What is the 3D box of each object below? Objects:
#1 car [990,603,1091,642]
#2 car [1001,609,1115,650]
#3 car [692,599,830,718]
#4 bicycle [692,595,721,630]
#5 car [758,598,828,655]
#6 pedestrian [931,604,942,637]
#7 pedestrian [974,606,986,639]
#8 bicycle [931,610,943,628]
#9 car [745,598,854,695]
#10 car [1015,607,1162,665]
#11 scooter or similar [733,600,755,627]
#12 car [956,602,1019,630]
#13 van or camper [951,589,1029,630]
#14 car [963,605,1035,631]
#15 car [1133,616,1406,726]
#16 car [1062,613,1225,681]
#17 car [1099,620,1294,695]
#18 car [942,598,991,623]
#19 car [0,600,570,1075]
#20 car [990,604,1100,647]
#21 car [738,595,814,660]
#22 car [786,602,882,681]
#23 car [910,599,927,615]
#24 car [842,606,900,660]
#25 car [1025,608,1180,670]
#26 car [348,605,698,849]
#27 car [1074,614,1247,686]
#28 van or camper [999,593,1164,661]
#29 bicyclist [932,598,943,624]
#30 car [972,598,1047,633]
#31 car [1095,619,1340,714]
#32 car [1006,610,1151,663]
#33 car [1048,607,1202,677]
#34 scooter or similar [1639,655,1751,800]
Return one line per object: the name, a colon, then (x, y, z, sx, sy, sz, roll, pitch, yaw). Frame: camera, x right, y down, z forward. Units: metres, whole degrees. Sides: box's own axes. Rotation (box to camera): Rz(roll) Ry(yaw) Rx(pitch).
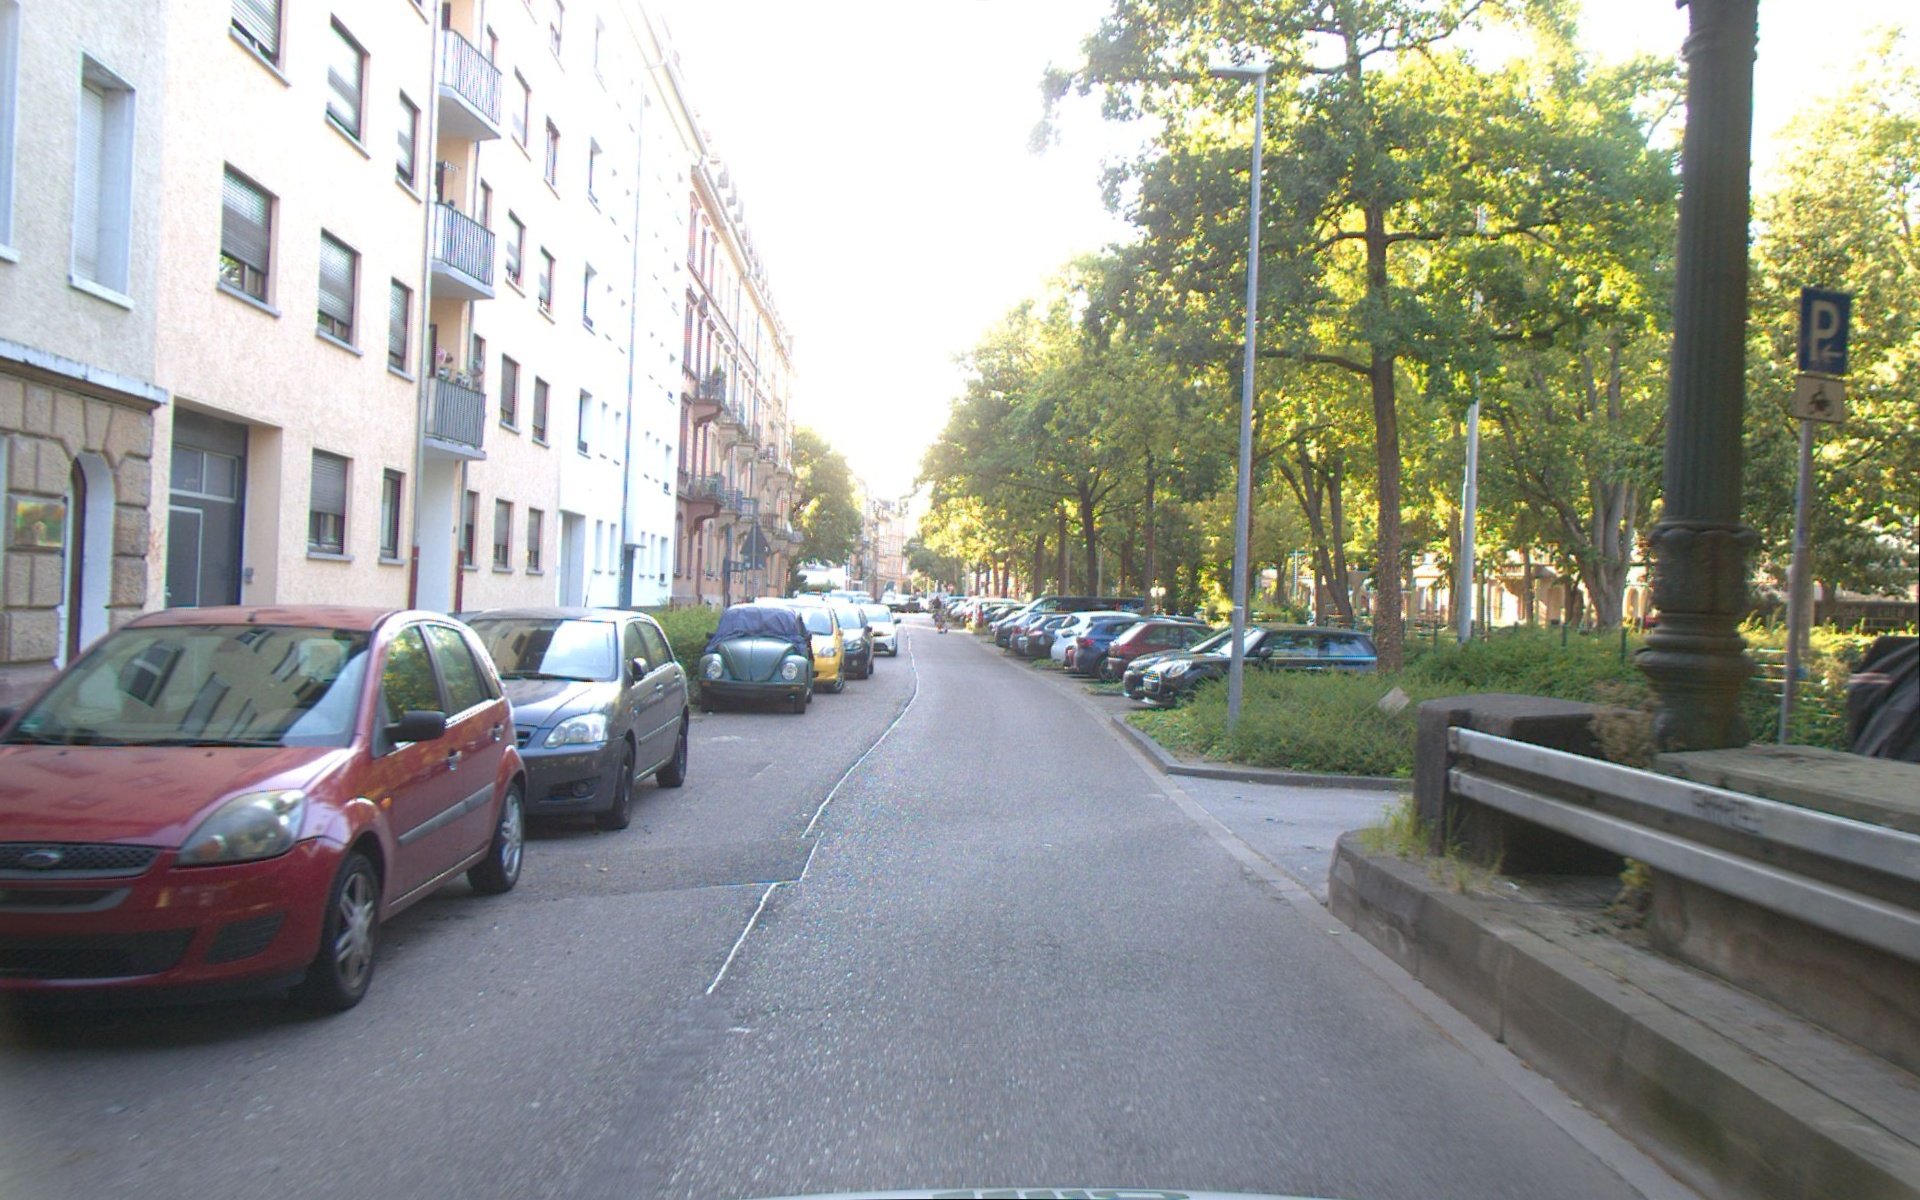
car: (3.613, 1.021, 74.703, 4.315, 1.619, 1.835, 2, -1, -7)
car: (3.791, 1.141, 64.571, 4.309, 1.465, 1.837, 1, -1, 0)
car: (-2.830, 0.802, 24.191, 1.535, 1.544, 3.782, 2, 0, 0)
bicycle: (-9.613, 0.462, 62.807, 0.722, 1.227, 2.513, 3, 1, -1)
car: (-5.021, 0.770, 50.097, 1.635, 1.496, 4.282, 5, 0, -1)
pedestrian: (-1.193, 1.011, 82.986, 0.372, 1.612, 0.519, 3, 2, 17)
pedestrian: (0.968, 1.058, 79.087, 0.372, 1.543, 0.519, 3, 2, 17)
bicycle: (-1.512, 1.226, 107.874, 0.628, 1.119, 1.942, 3, -2, -3)
car: (-2.783, 0.777, 29.349, 1.668, 1.552, 3.771, 2, 0, -2)
car: (3.851, 1.097, 49.962, 4.309, 1.605, 1.664, 1, -2, 0)
scooter or similar: (-10.537, 0.680, 80.793, 0.767, 1.243, 2.702, 3, -2, -2)
car: (1.732, 0.978, 104.946, 3.906, 1.721, 1.859, 1, 0, -1)
van or camper: (1.938, 0.638, 109.425, 4.884, 2.419, 2.183, 4, -2, -4)
car: (2.291, 1.055, 96.898, 4.132, 1.478, 1.649, 1, 0, 2)
car: (4.595, 1.055, 24.841, 3.709, 1.498, 1.633, 2, -2, -6)
car: (4.363, 1.129, 39.664, 3.704, 1.499, 1.664, 1, -2, 0)
car: (4.891, 1.194, 34.470, 3.709, 1.426, 1.764, 2, -2, -6)
car: (0.577, 0.927, 139.662, 3.909, 1.825, 1.857, 4, -2, -5)
car: (-2.987, 0.767, 7.249, 1.655, 1.466, 3.998, 2, -1, -2)
car: (3.439, 1.038, 67.316, 4.311, 1.619, 1.836, 2, -1, -3)
car: (-4.948, 0.723, 44.995, 1.635, 1.534, 3.998, 5, 0, -2)
car: (-2.554, 0.815, 34.292, 1.704, 1.505, 3.999, 1, 0, -1)
car: (-4.182, 0.710, 166.131, 1.635, 1.489, 3.998, 1, 0, -3)
car: (-2.638, 0.950, 49.726, 1.634, 1.456, 3.999, 0, 1, -1)
car: (4.021, 1.114, 47.015, 4.307, 1.605, 1.665, 1, -2, 3)
car: (-3.021, 0.797, 12.246, 1.603, 1.492, 3.999, -1, 0, -1)
car: (4.424, 1.106, 36.874, 3.703, 1.472, 1.665, 1, -2, 3)
van or camper: (3.969, 0.867, 54.870, 5.303, 2.063, 2.029, 1, 0, 0)
bicyclist: (-1.481, 0.725, 107.856, 0.615, 1.600, 0.801, 3, -2, -3)
car: (2.755, 0.859, 92.466, 4.134, 1.897, 1.761, 1, 0, -1)
car: (4.179, 1.084, 27.230, 3.705, 1.426, 1.827, 2, -2, -1)
car: (3.709, 1.149, 52.078, 4.313, 1.527, 1.835, 2, -2, -5)
car: (4.192, 1.080, 42.293, 3.705, 1.675, 1.663, 2, -2, -2)
scooter or similar: (7.146, 1.214, 16.129, 0.467, 1.321, 1.325, 3, -2, 1)
